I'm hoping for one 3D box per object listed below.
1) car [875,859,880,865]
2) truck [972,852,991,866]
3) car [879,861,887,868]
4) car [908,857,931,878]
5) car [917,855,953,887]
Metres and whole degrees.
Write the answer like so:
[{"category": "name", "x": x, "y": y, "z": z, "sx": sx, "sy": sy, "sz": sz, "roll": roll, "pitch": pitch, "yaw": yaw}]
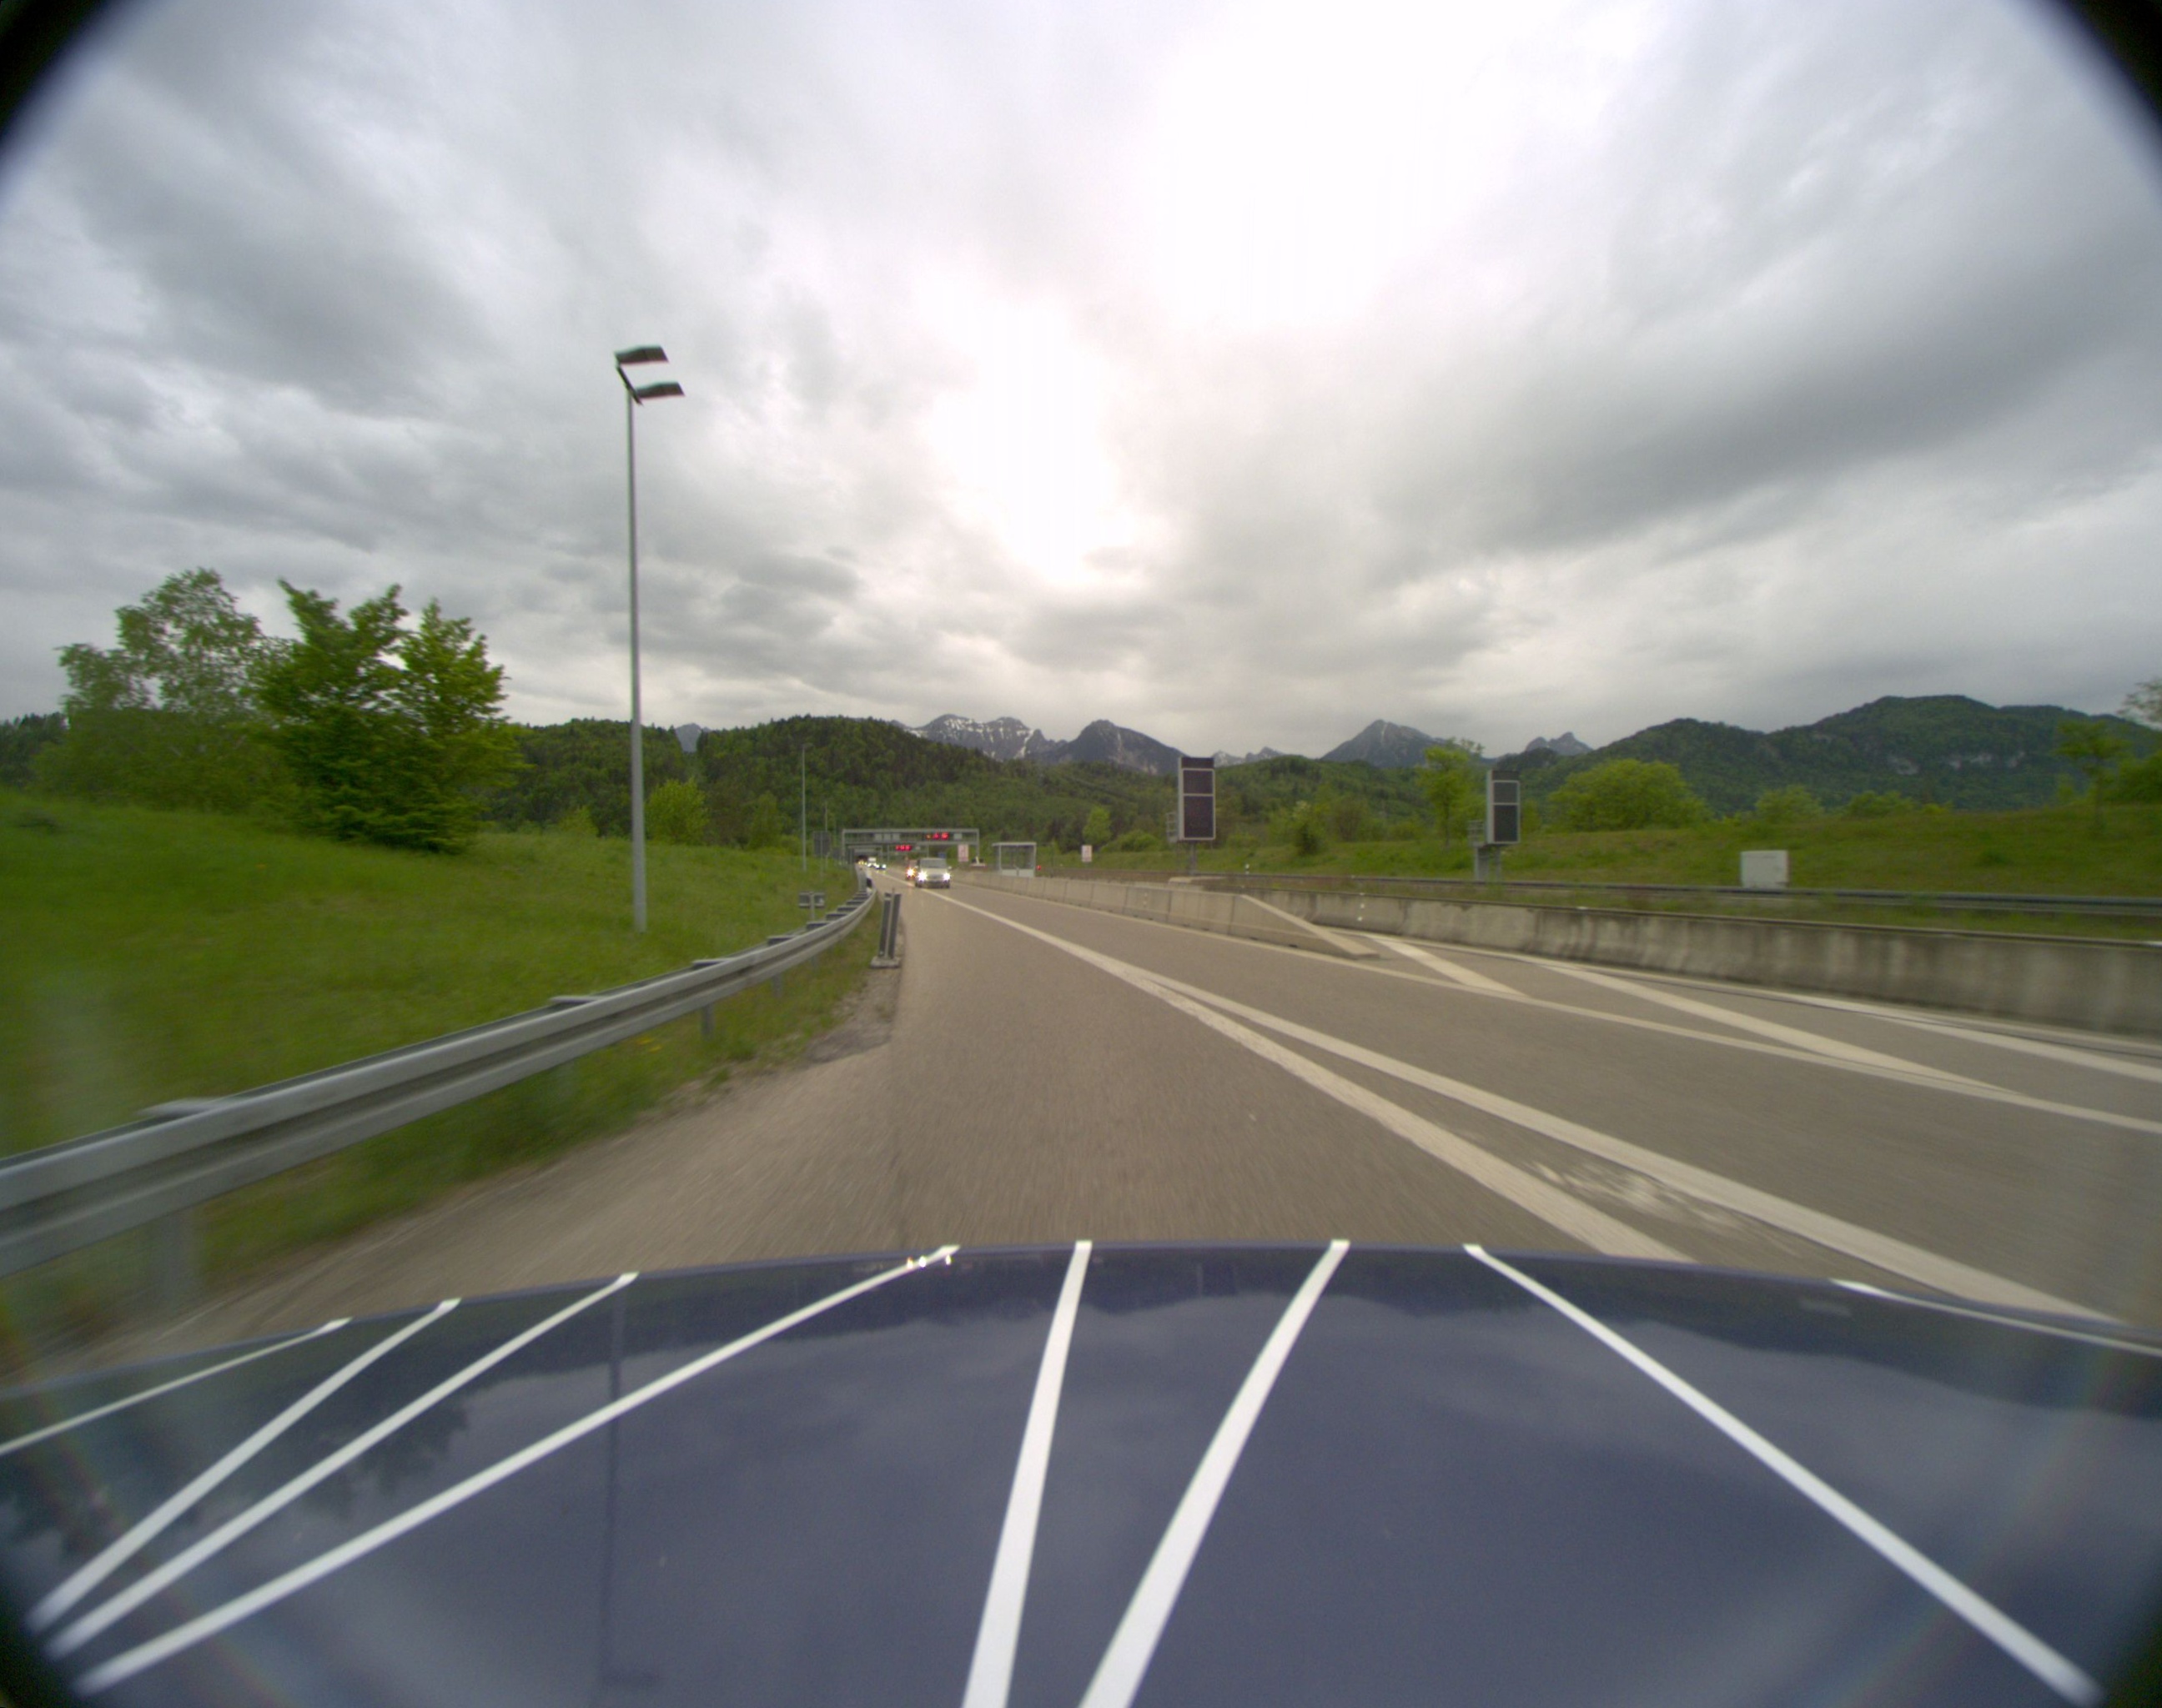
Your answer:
[{"category": "car", "x": -64.684, "y": 2.521, "z": 241.484, "sx": 1.632, "sy": 1.687, "sz": 3.492, "roll": 1, "pitch": 0, "yaw": -12}, {"category": "truck", "x": -17.280, "y": 0.828, "z": 132.046, "sx": 2.366, "sy": 2.465, "sz": 5.979, "roll": 0, "pitch": 0, "yaw": -17}, {"category": "car", "x": -43.320, "y": 2.318, "z": 166.177, "sx": 1.666, "sy": 1.329, "sz": 3.787, "roll": 1, "pitch": 0, "yaw": -16}, {"category": "car", "x": -14.460, "y": 1.177, "z": 67.846, "sx": 1.758, "sy": 1.794, "sz": 3.994, "roll": 1, "pitch": -1, "yaw": -16}, {"category": "car", "x": -9.238, "y": 1.005, "z": 47.788, "sx": 1.925, "sy": 1.871, "sz": 5.132, "roll": 1, "pitch": 0, "yaw": -14}]
